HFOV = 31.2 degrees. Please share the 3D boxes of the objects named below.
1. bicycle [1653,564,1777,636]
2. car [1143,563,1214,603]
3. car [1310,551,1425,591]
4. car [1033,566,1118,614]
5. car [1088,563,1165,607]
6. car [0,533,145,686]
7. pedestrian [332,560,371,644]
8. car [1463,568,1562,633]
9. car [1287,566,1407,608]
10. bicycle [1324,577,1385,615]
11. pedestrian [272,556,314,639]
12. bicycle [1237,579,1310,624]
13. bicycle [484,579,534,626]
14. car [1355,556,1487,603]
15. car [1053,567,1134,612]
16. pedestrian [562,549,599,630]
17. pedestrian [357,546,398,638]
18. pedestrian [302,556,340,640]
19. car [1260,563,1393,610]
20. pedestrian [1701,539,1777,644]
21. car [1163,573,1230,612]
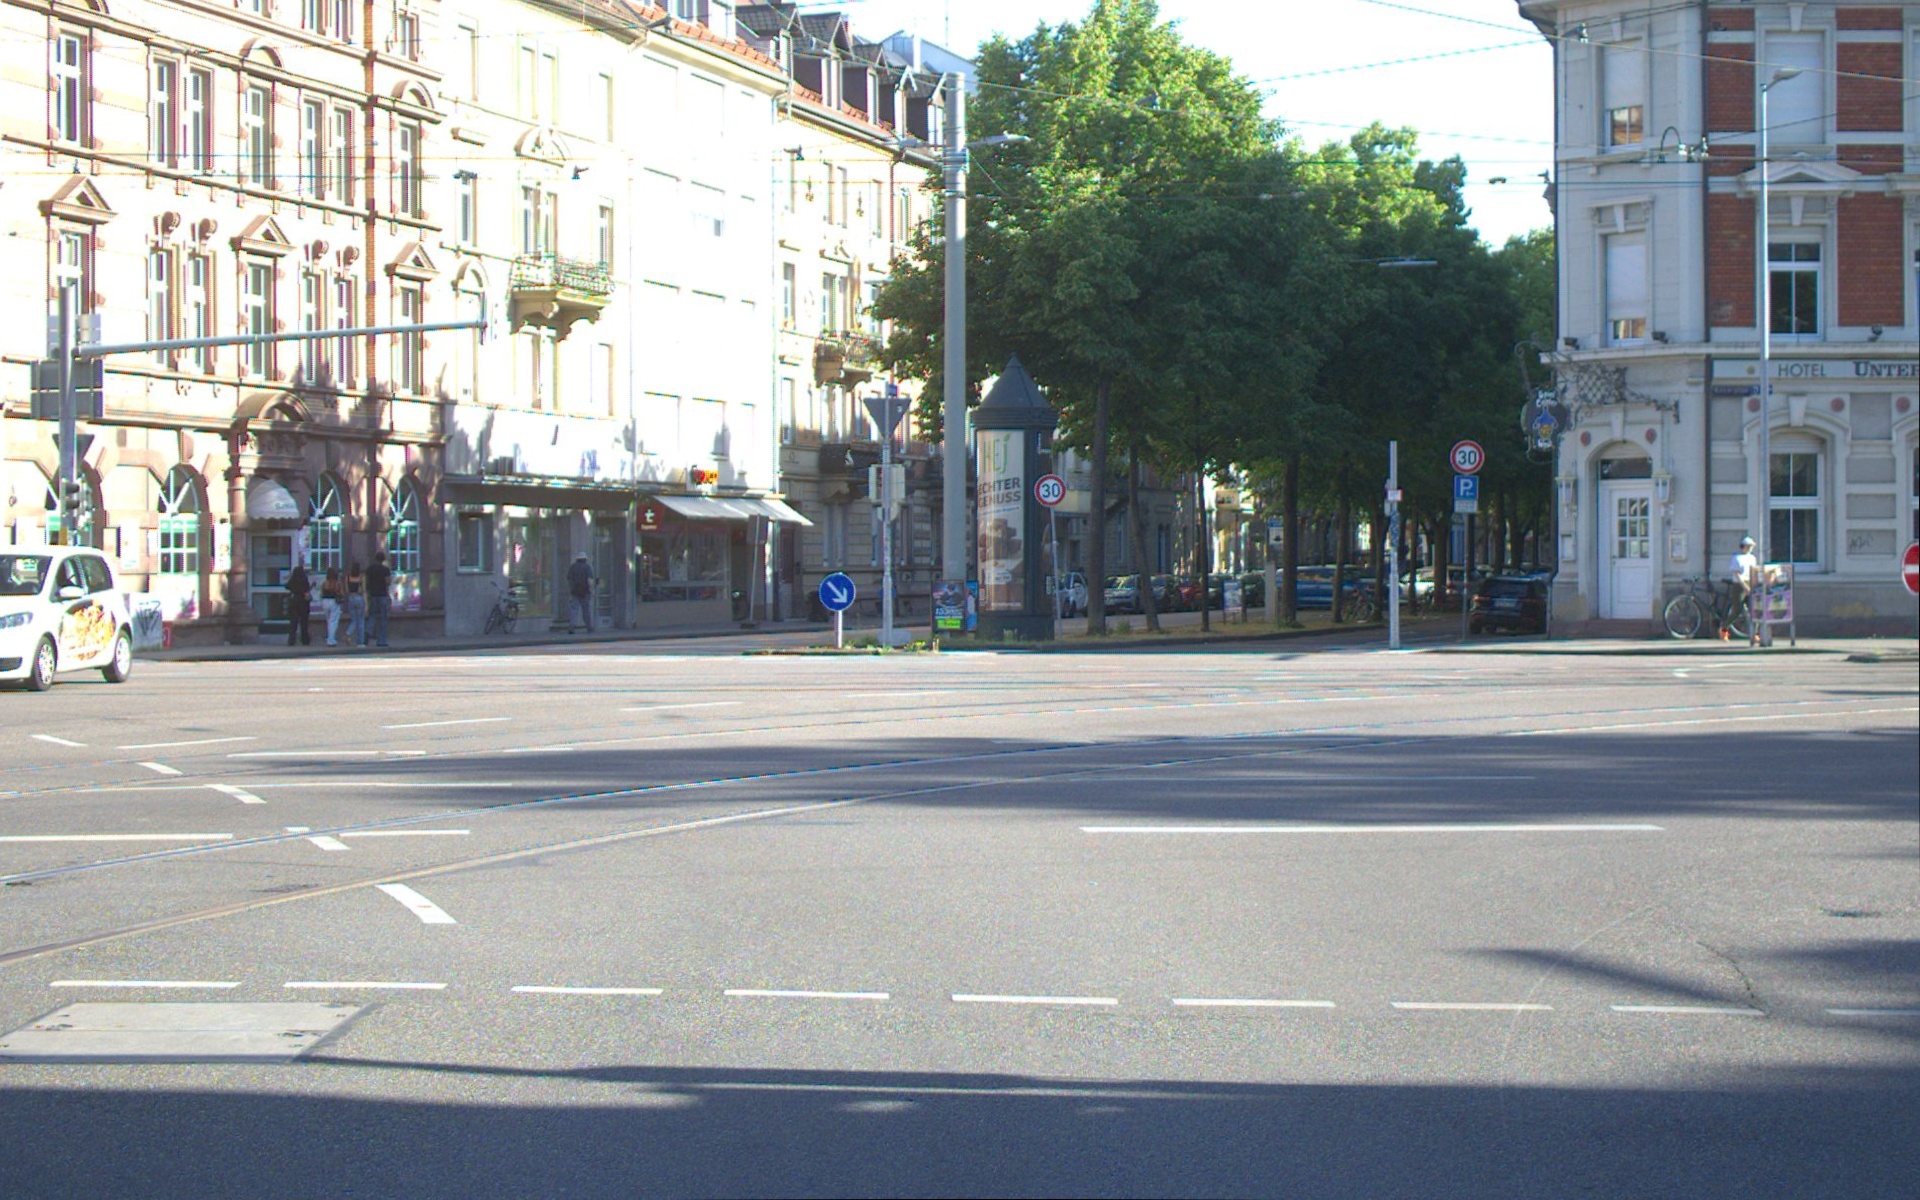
[{"bbox_3d":[12.554,0.002,57.179,1.961,1.186,0.546,0,1,5],"label":"bicycle"},{"bbox_3d":[8.394,-0.662,131.767,1.995,1.492,4.031,0,1,14],"label":"car"},{"bbox_3d":[15.940,-1.139,134.404,3.993,1.540,1.997,0,1,28],"label":"car"},{"bbox_3d":[3.804,-0.338,112.875,1.995,1.492,4.031,0,1,14],"label":"car"},{"bbox_3d":[5.971,-0.543,122.596,1.995,1.492,4.031,0,1,14],"label":"car"},{"bbox_3d":[-9.828,0.060,35.407,1.718,1.492,3.583,0,1,5],"label":"car"},{"bbox_3d":[-12.021,0.037,67.916,0.551,1.636,0.632,0,1,14],"label":"pedestrian"},{"bbox_3d":[13.267,0.000,82.418,1.995,1.492,4.031,0,1,14],"label":"car"},{"bbox_3d":[14.438,-0.493,128.307,3.993,1.540,1.997,0,1,28],"label":"car"},{"bbox_3d":[11.374,-0.130,99.253,0.582,1.063,1.949,-1,1,-37],"label":"bicycle"},{"bbox_3d":[-13.197,-0.053,68.040,0.627,1.636,0.537,0,1,15],"label":"pedestrian"},{"bbox_3d":[7.545,0.029,82.760,0.582,1.063,1.949,-1,1,-37],"label":"bicycle"},{"bbox_3d":[-10.433,0.055,79.554,0.495,1.063,1.768,0,1,16],"label":"bicycle"},{"bbox_3d":[15.631,-0.694,116.543,3.994,1.540,1.997,0,1,31],"label":"car"},{"bbox_3d":[4.580,-0.372,117.362,1.995,1.492,4.031,0,1,14],"label":"car"},{"bbox_3d":[-8.945,-0.252,81.049,0.682,1.902,0.632,0,1,16],"label":"pedestrian"},{"bbox_3d":[-11.706,-0.170,69.070,0.580,1.830,0.632,0,1,16],"label":"pedestrian"},{"bbox_3d":[-12.632,-0.041,67.968,0.551,1.636,0.537,0,1,14],"label":"pedestrian"},{"bbox_3d":[12.340,-0.453,115.713,3.993,1.540,1.997,0,1,28],"label":"car"},{"bbox_3d":[12.471,-0.140,55.043,0.716,1.664,0.939,-1,1,-42],"label":"pedestrian"},{"bbox_3d":[9.406,-0.312,136.534,1.995,1.492,4.031,0,1,14],"label":"car"}]
